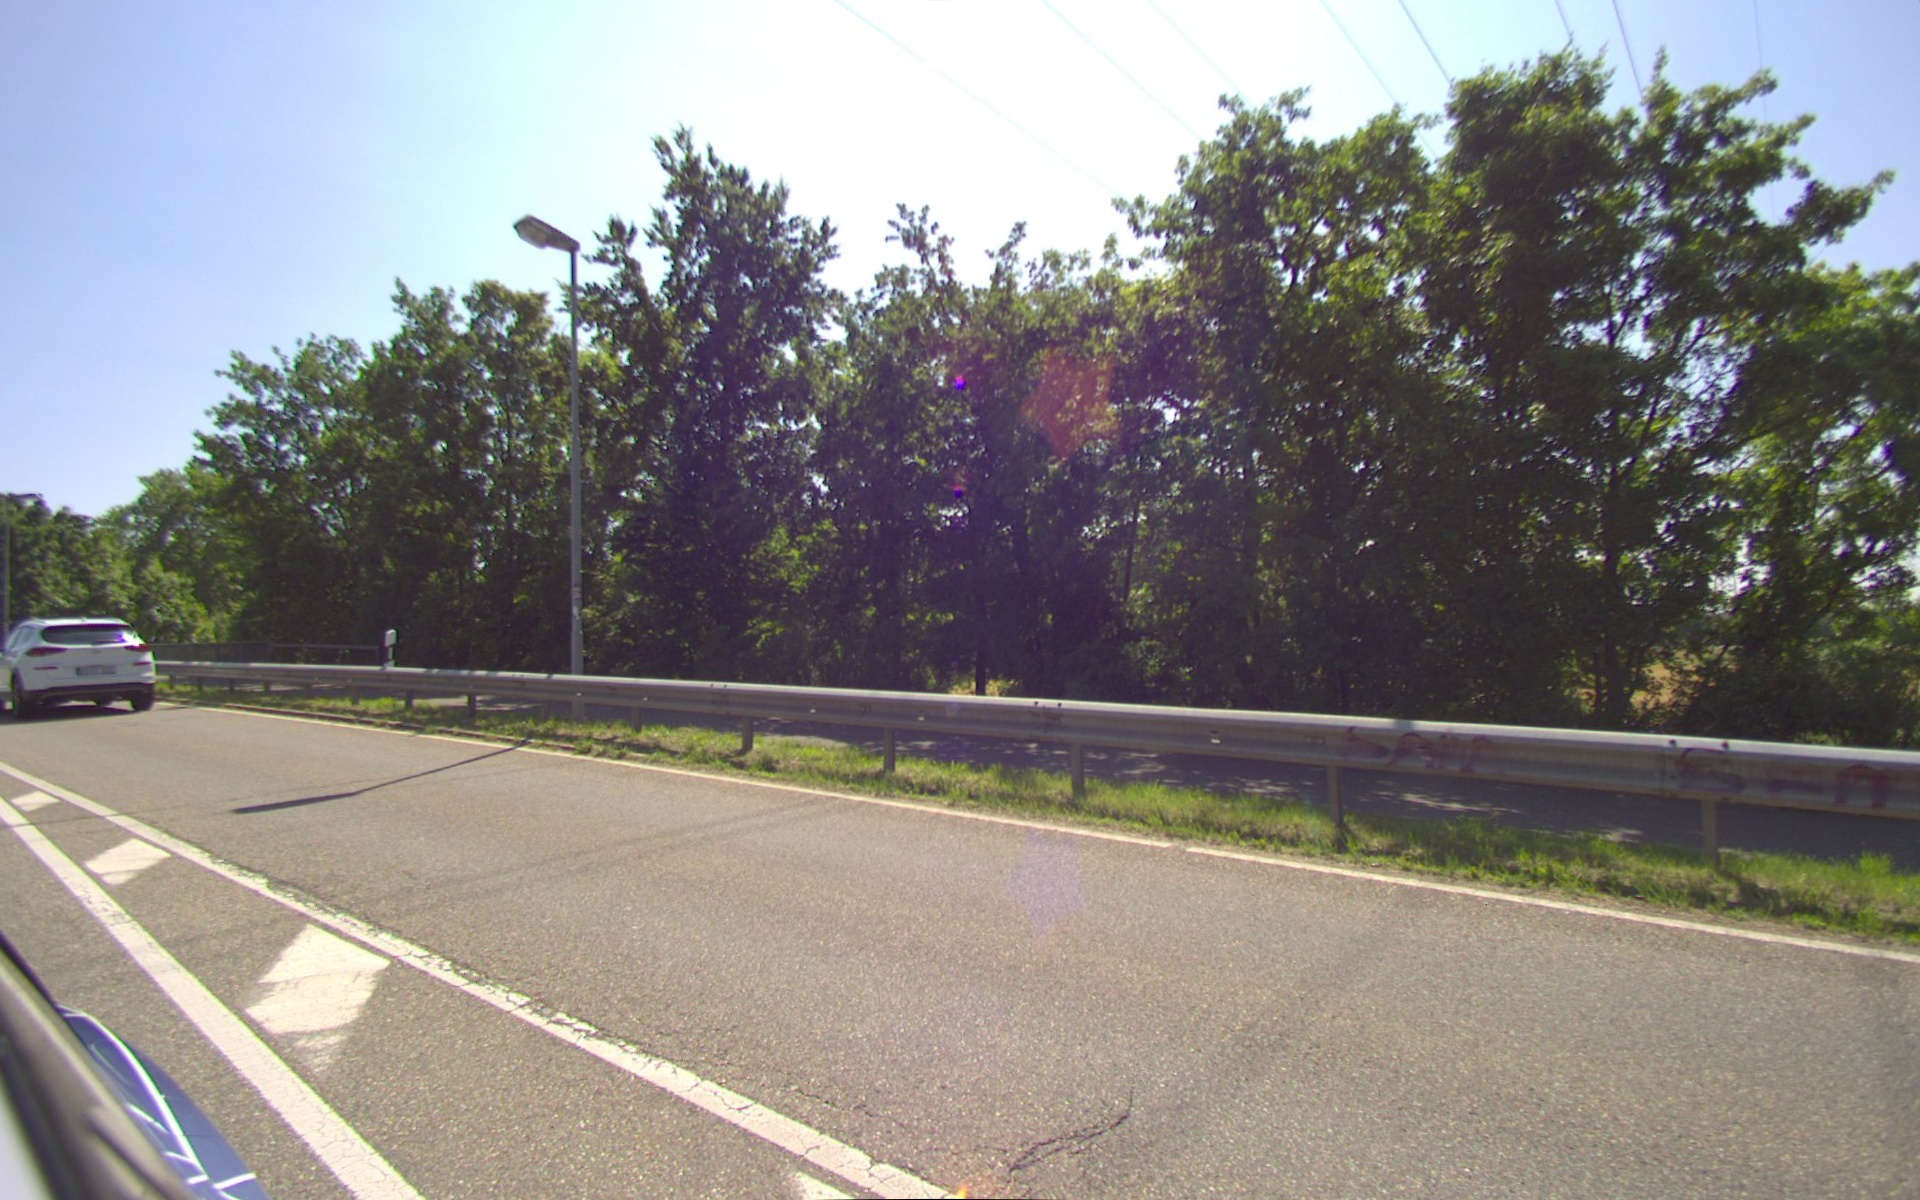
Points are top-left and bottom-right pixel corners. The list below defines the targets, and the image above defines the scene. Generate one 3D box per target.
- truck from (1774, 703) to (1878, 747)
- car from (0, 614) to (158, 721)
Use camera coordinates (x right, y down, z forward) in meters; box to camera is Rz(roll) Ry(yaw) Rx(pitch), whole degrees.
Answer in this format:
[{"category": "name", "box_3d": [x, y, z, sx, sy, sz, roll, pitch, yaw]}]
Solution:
[{"category": "truck", "box_3d": [59.196, 8.513, 69.193, 6.419, 2.342, 2.006, -2, 1, -14]}, {"category": "car", "box_3d": [-16.072, 1.136, 18.138, 4.136, 1.652, 1.806, -2, -1, 39]}]
